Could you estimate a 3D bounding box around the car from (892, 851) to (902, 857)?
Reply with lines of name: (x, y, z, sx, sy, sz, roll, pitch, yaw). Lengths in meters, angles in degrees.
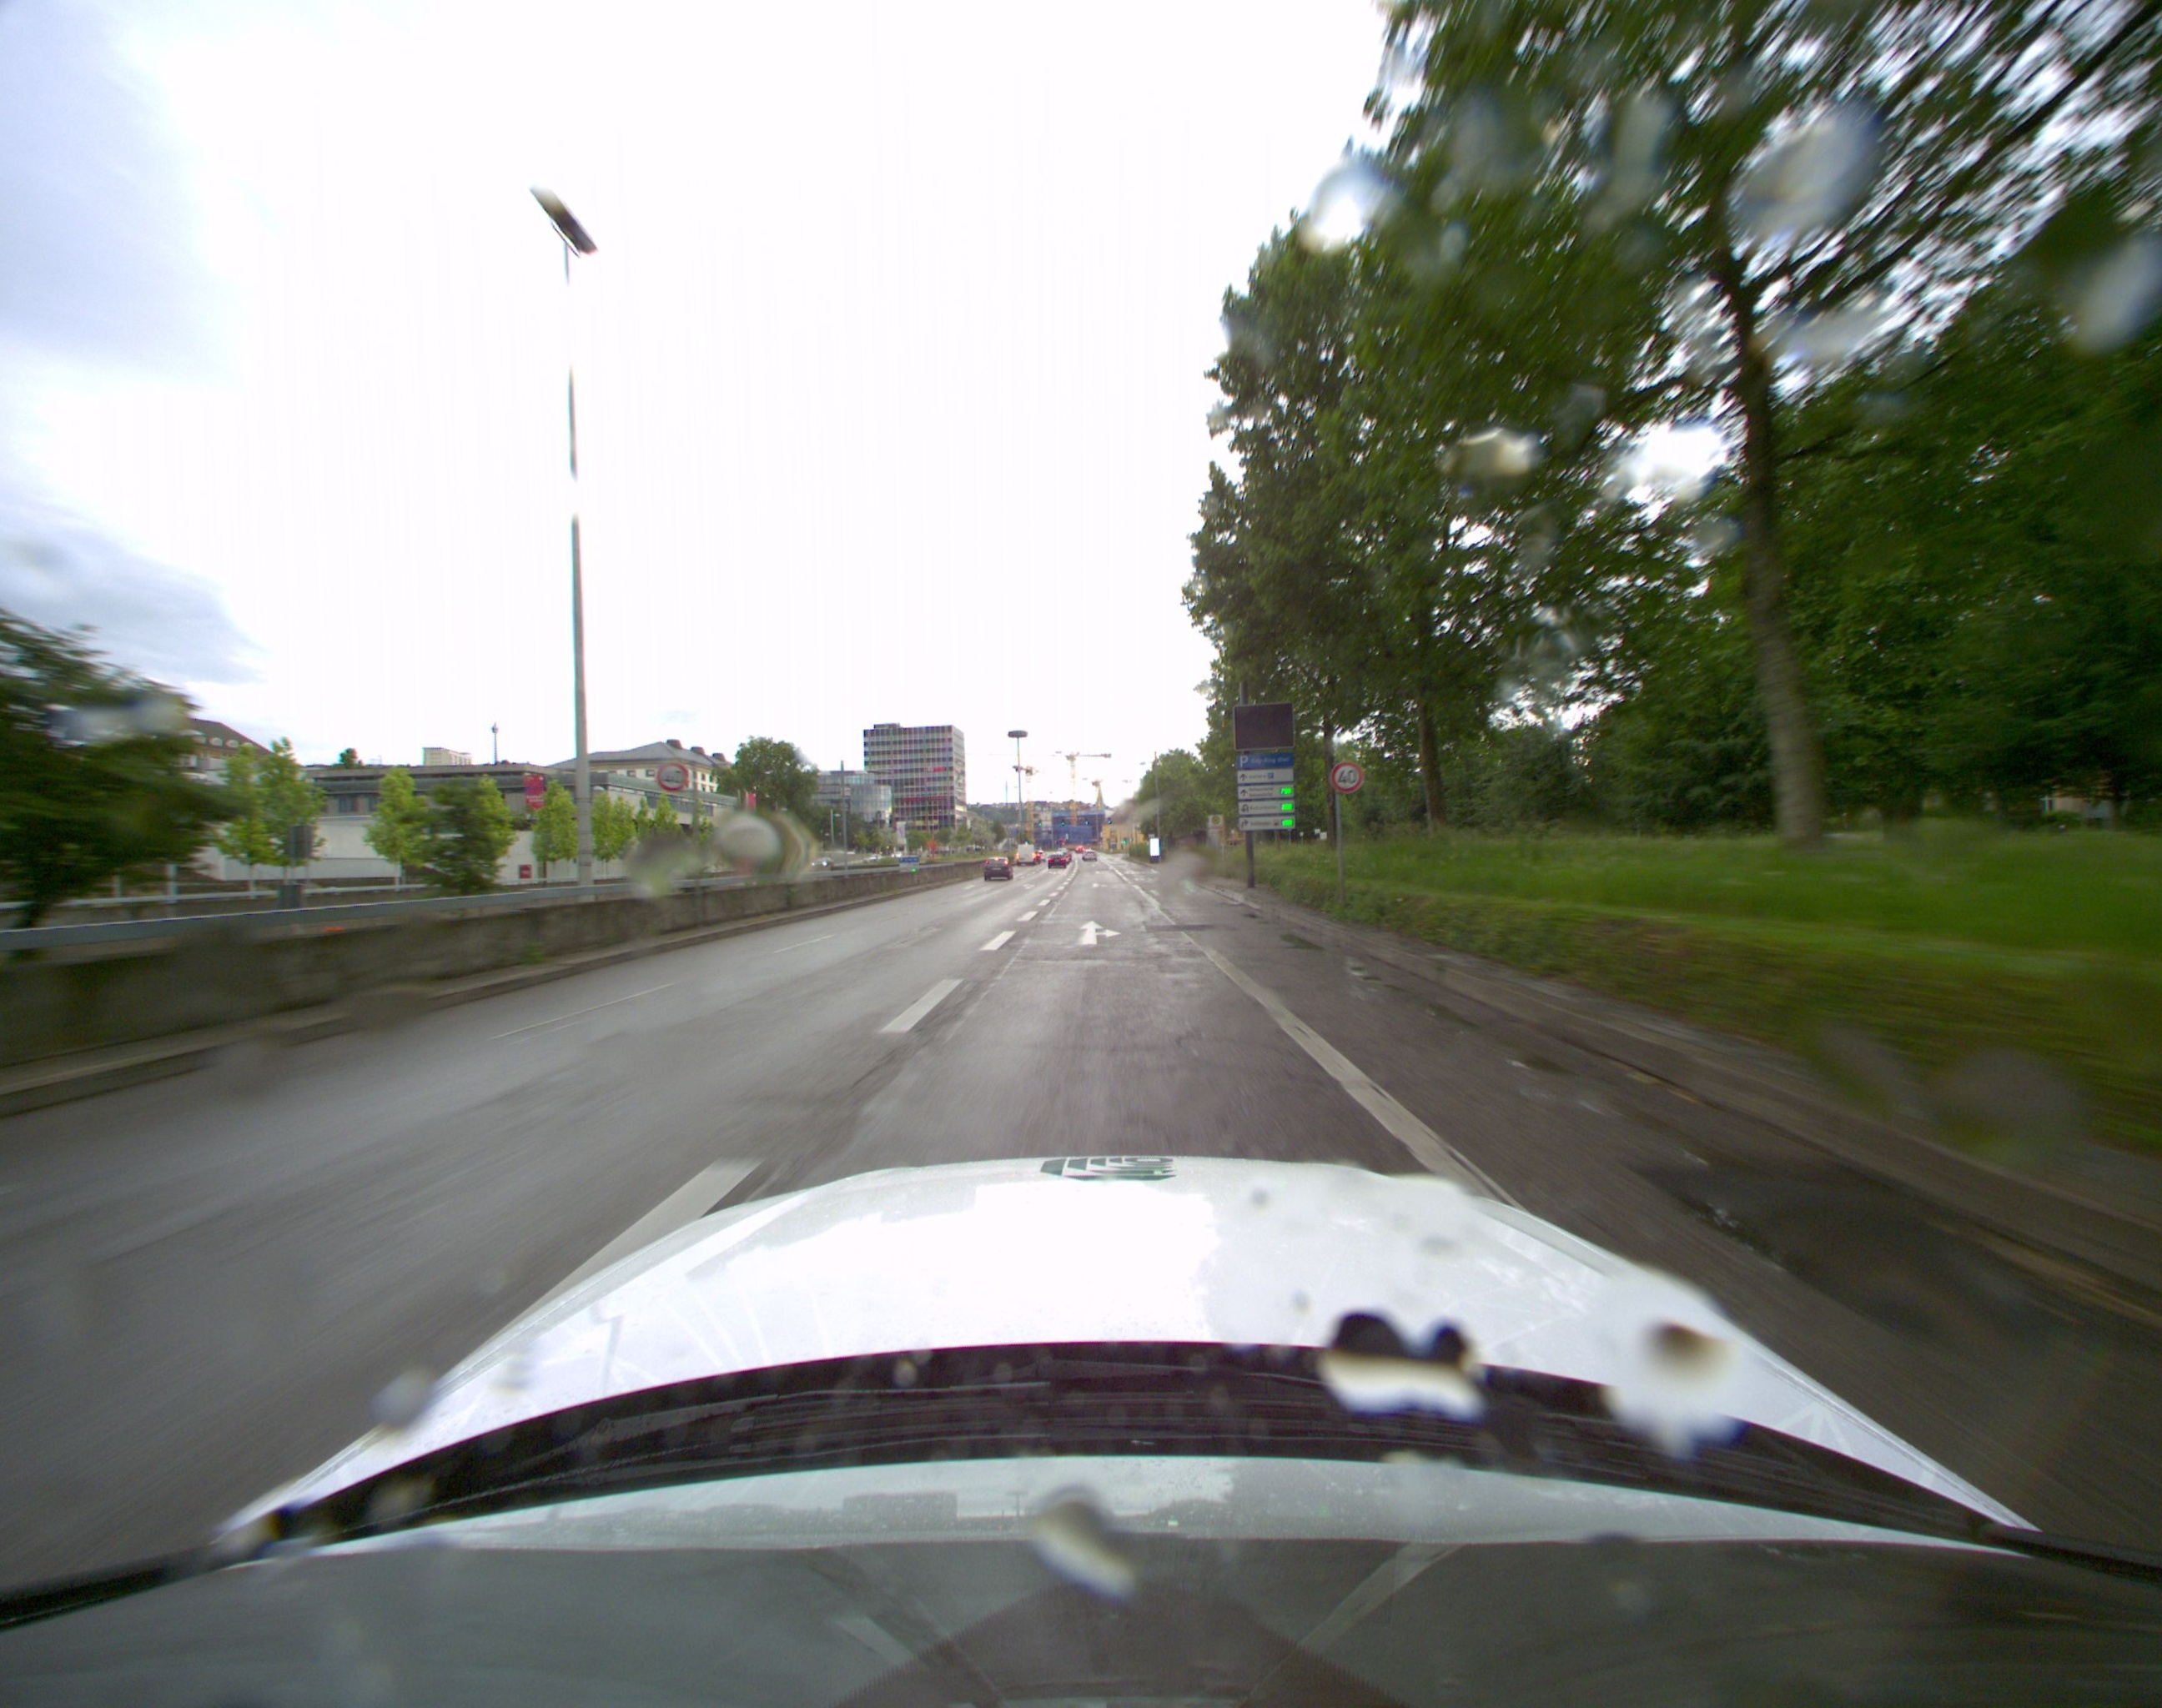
car: (-37.453, -0.046, 165.530, 1.436, 1.114, 3.020, -1, -1, -1)

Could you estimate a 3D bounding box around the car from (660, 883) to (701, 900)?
car: (-29.406, 2.745, 59.862, 1.483, 1.129, 3.050, -1, -1, -1)

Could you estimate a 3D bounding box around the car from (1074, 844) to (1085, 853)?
car: (-0.388, -1.206, 177.072, 2.153, 1.879, 3.773, -1, -1, 3)

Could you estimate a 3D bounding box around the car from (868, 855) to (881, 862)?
car: (-36.665, 0.842, 144.833, 1.402, 1.255, 3.168, -1, -1, 3)

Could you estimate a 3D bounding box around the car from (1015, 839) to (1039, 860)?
car: (-6.023, -0.472, 91.812, 2.285, 2.314, 5.005, -1, -1, 0)

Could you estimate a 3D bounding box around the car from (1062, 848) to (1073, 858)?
car: (-1.855, -0.118, 110.027, 1.489, 1.369, 3.032, -1, -1, -1)

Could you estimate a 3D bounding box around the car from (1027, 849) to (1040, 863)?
car: (-5.682, 0.241, 98.445, 1.460, 1.706, 3.138, -1, -1, -2)

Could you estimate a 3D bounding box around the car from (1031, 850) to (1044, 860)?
car: (-5.751, 0.136, 108.497, 1.546, 1.260, 2.579, -1, -1, 0)

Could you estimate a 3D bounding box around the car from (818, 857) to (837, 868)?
car: (-32.390, 1.103, 103.983, 1.460, 1.440, 2.962, -1, -1, 0)

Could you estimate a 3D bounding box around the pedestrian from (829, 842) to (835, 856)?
pedestrian: (-39.679, -0.808, 129.801, 0.765, 2.090, 0.726, -1, 5, -1)

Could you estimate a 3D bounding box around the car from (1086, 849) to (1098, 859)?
car: (1.498, 0.012, 109.709, 1.438, 1.359, 2.414, -1, -1, 3)

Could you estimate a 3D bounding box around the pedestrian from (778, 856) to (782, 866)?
pedestrian: (-41.236, 0.909, 111.498, 0.468, 1.383, 0.574, 0, -1, -15)

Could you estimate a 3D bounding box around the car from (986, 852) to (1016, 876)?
car: (-5.112, 0.631, 52.272, 1.537, 1.415, 3.900, -1, -1, 0)

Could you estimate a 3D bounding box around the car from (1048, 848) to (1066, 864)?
car: (-2.409, 0.198, 81.614, 1.749, 1.471, 4.220, -1, 1, -1)

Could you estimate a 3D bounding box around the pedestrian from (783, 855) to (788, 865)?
pedestrian: (-43.413, 0.865, 119.793, 0.490, 1.423, 0.633, -1, -1, -1)

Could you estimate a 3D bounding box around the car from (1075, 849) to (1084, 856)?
car: (-0.199, -0.169, 117.952, 1.072, 0.990, 1.973, -1, -1, 3)

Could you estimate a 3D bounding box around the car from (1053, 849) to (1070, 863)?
car: (-2.326, 0.285, 96.528, 1.876, 1.653, 3.454, -1, -1, -3)
